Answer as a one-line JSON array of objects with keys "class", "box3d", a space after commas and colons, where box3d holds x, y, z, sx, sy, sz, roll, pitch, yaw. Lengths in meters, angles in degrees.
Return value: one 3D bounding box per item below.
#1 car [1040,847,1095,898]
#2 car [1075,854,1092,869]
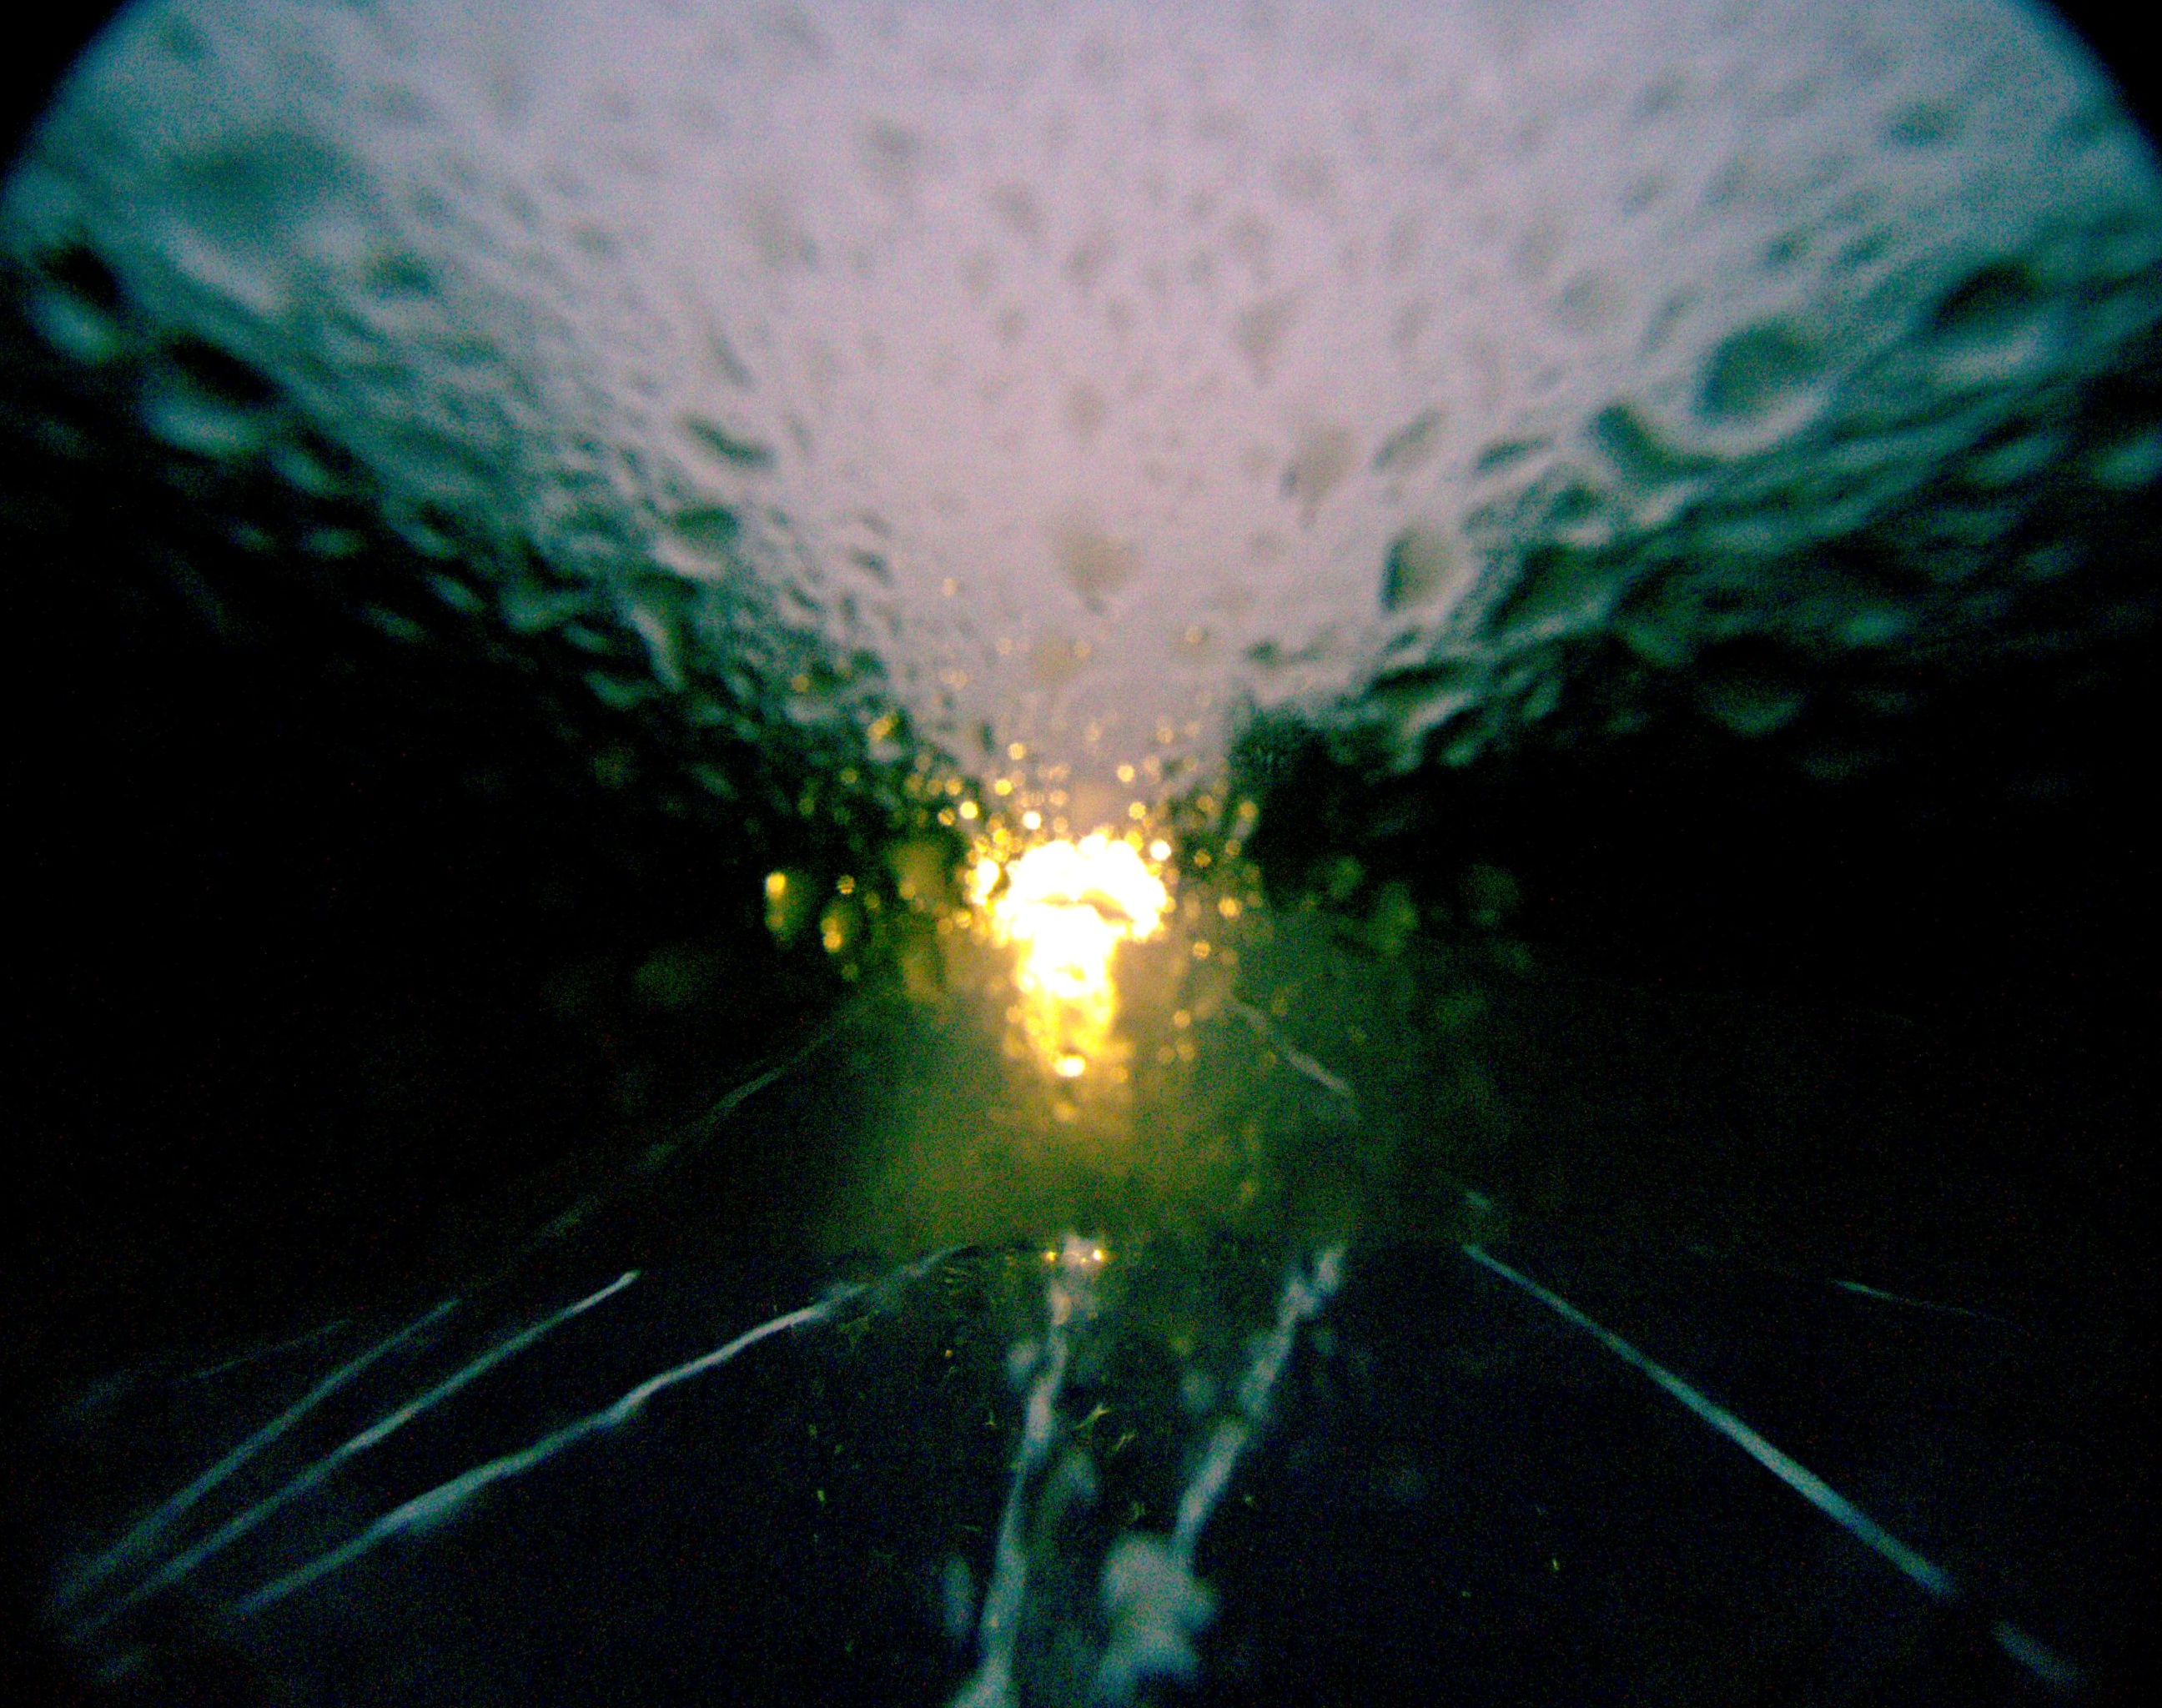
[{"class": "car", "box3d": [-0.423, 0.626, 27.854, 1.573, 1.701, 4.001, -1, 1, 5]}, {"class": "car", "box3d": [0.331, 0.871, 91.355, 1.998, 1.752, 4.371, -2, 1, 0]}]
